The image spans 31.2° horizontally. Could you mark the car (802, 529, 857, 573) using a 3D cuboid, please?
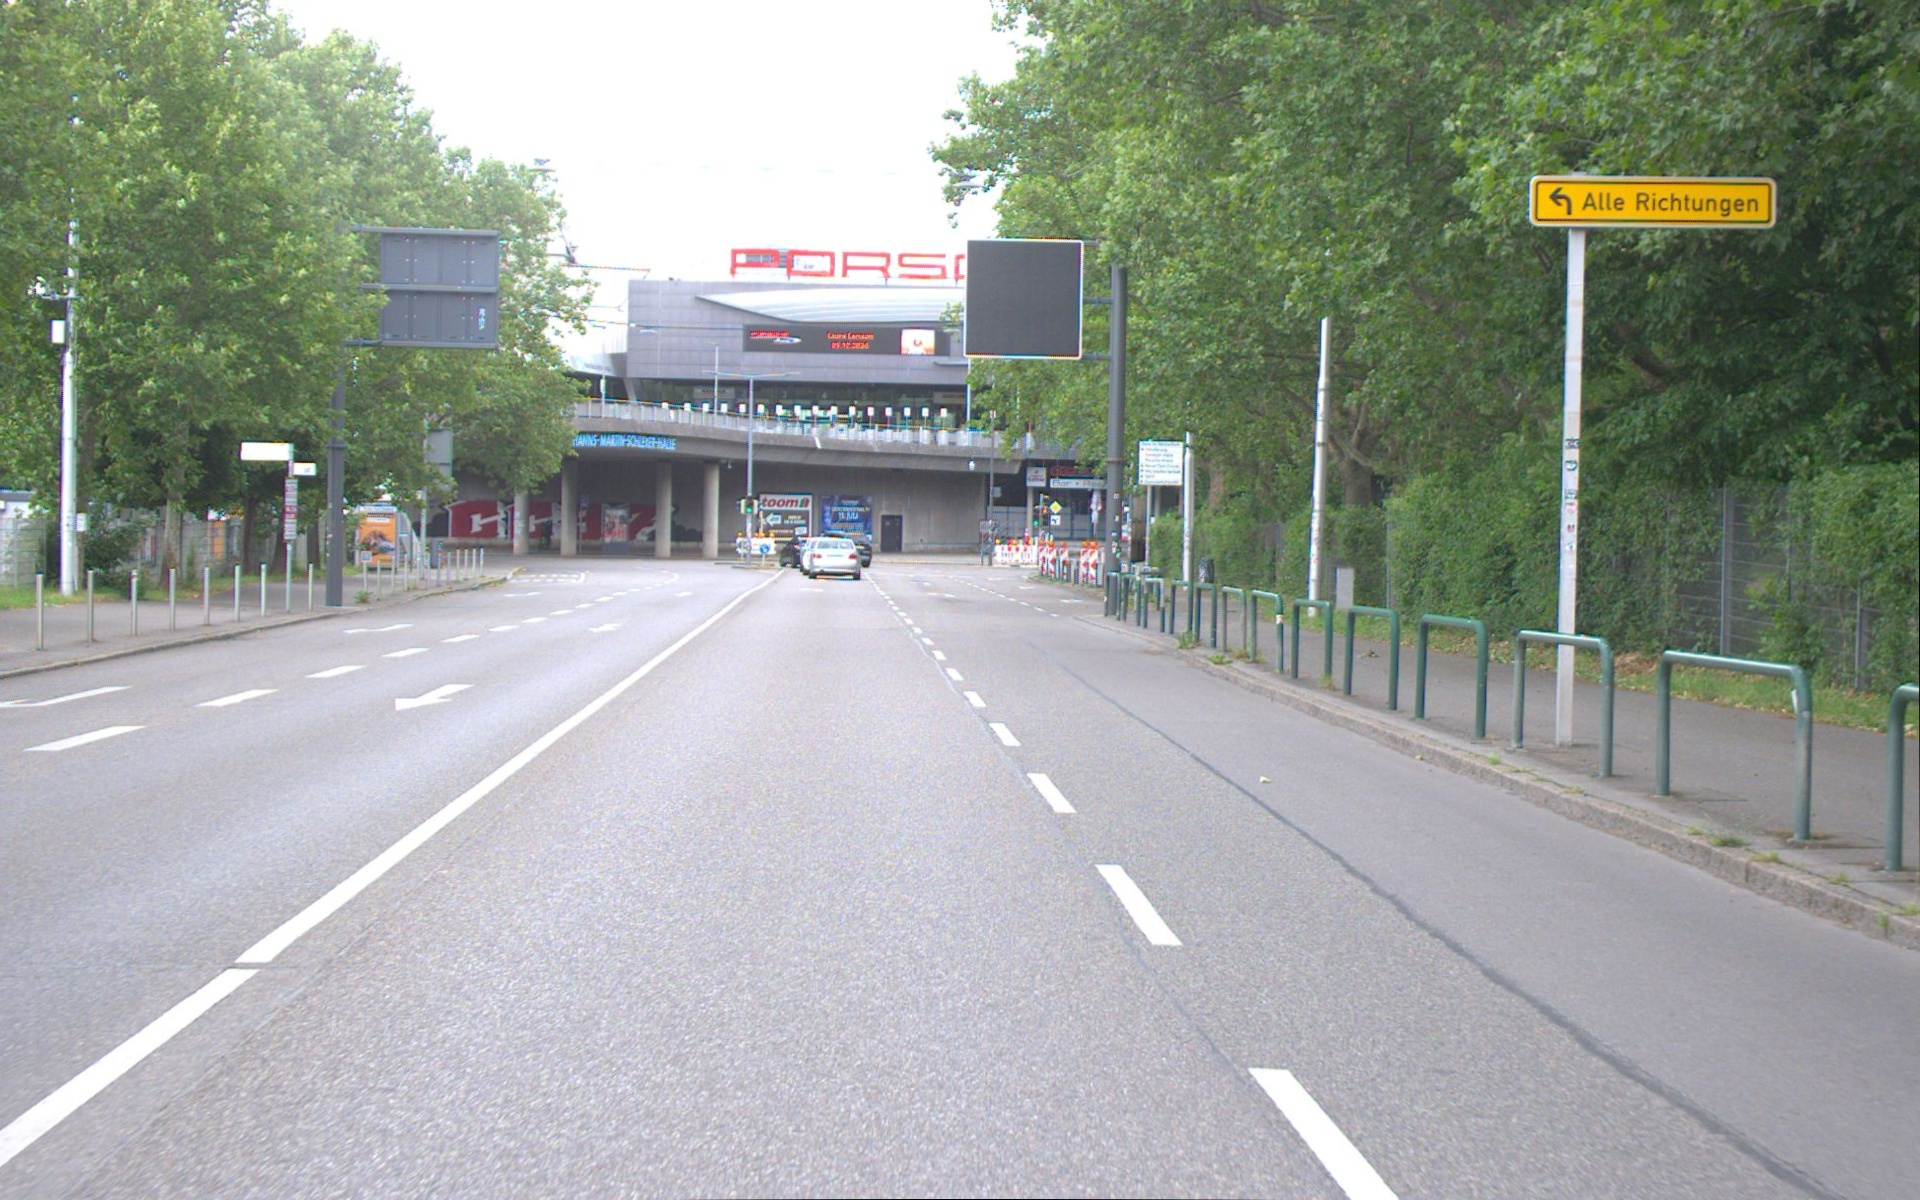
[{"bbox_3d":[-4.615,-1.741,121.872,1.778,1.455,3.822,3,1,-1],"label":"car"}]

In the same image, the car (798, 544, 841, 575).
[{"bbox_3d":[-5.468,-1.590,133.469,1.411,1.109,3.038,3,1,-6],"label":"car"}]

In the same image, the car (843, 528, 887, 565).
[{"bbox_3d":[-4.540,-2.575,165.360,2.007,1.693,4.070,2,1,-1],"label":"car"}]
